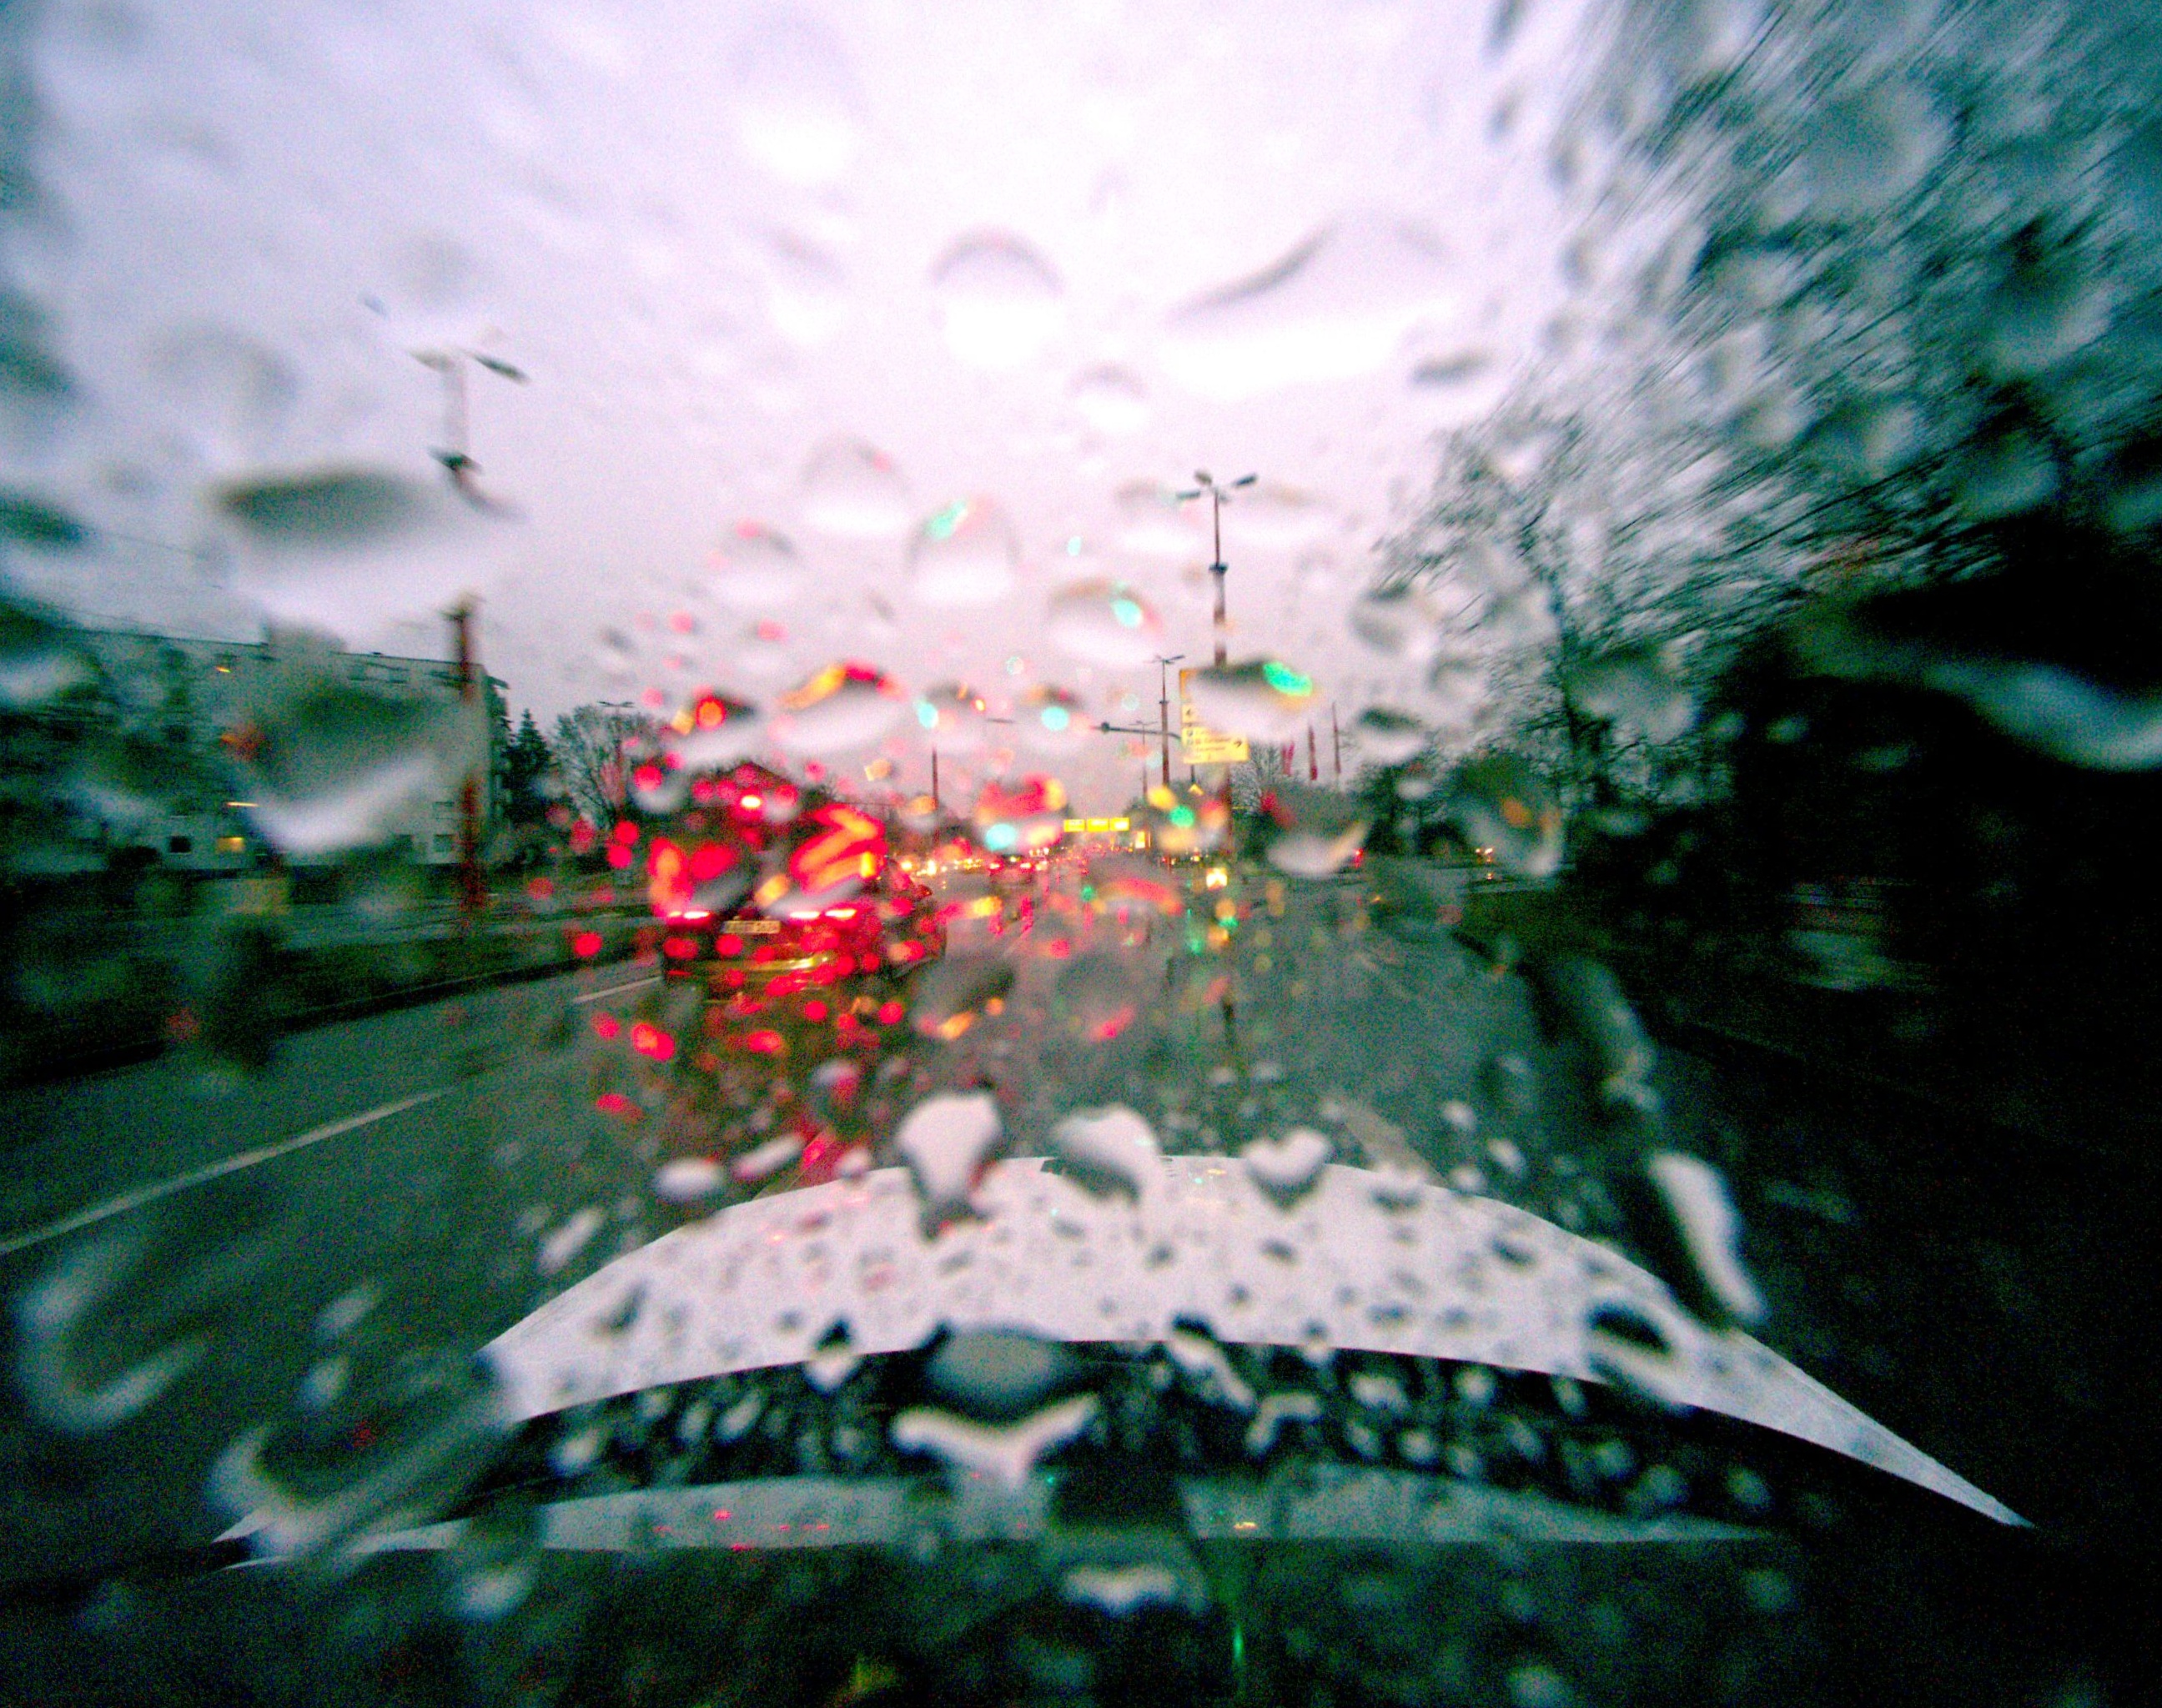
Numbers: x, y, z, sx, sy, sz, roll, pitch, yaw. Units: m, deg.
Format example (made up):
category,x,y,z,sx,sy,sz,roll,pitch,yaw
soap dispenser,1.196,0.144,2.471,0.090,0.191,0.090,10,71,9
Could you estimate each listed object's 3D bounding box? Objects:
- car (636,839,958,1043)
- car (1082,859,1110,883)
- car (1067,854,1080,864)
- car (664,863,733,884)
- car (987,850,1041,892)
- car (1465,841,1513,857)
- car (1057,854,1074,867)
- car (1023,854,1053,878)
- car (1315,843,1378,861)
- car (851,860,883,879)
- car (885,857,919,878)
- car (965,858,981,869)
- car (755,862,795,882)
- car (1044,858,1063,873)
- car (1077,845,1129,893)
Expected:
category,x,y,z,sx,sy,sz,roll,pitch,yaw
car,-2.698,0.726,8.988,1.815,1.648,4.468,-1,0,2
car,1.112,1.218,58.743,1.986,1.662,4.001,0,-1,2
car,-1.155,0.747,130.488,1.986,1.577,4.001,0,-1,2
car,-30.443,1.552,64.878,1.974,1.530,4.513,-2,0,39
car,-2.817,0.705,35.013,1.815,1.648,4.002,-1,0,2
car,36.452,-0.471,72.739,4.006,1.309,1.624,-2,0,-25
car,-1.939,0.805,102.375,1.815,1.504,4.002,-1,0,2
car,-3.138,0.872,60.045,1.815,1.648,4.002,-1,0,2
car,22.473,-0.138,69.047,4.717,1.376,1.885,-1,0,4
car,-17.538,1.252,66.834,1.646,1.420,3.326,-2,0,1
car,-14.541,1.106,66.425,1.851,1.581,4.079,-2,0,0
car,-15.671,1.361,118.350,1.764,1.586,4.033,-2,0,1
car,-24.488,1.434,65.271,1.612,1.495,4.018,-2,0,1
car,-2.537,1.035,76.042,1.499,1.339,4.002,-1,0,2
car,0.867,0.551,31.215,1.815,1.648,4.468,-2,0,2
